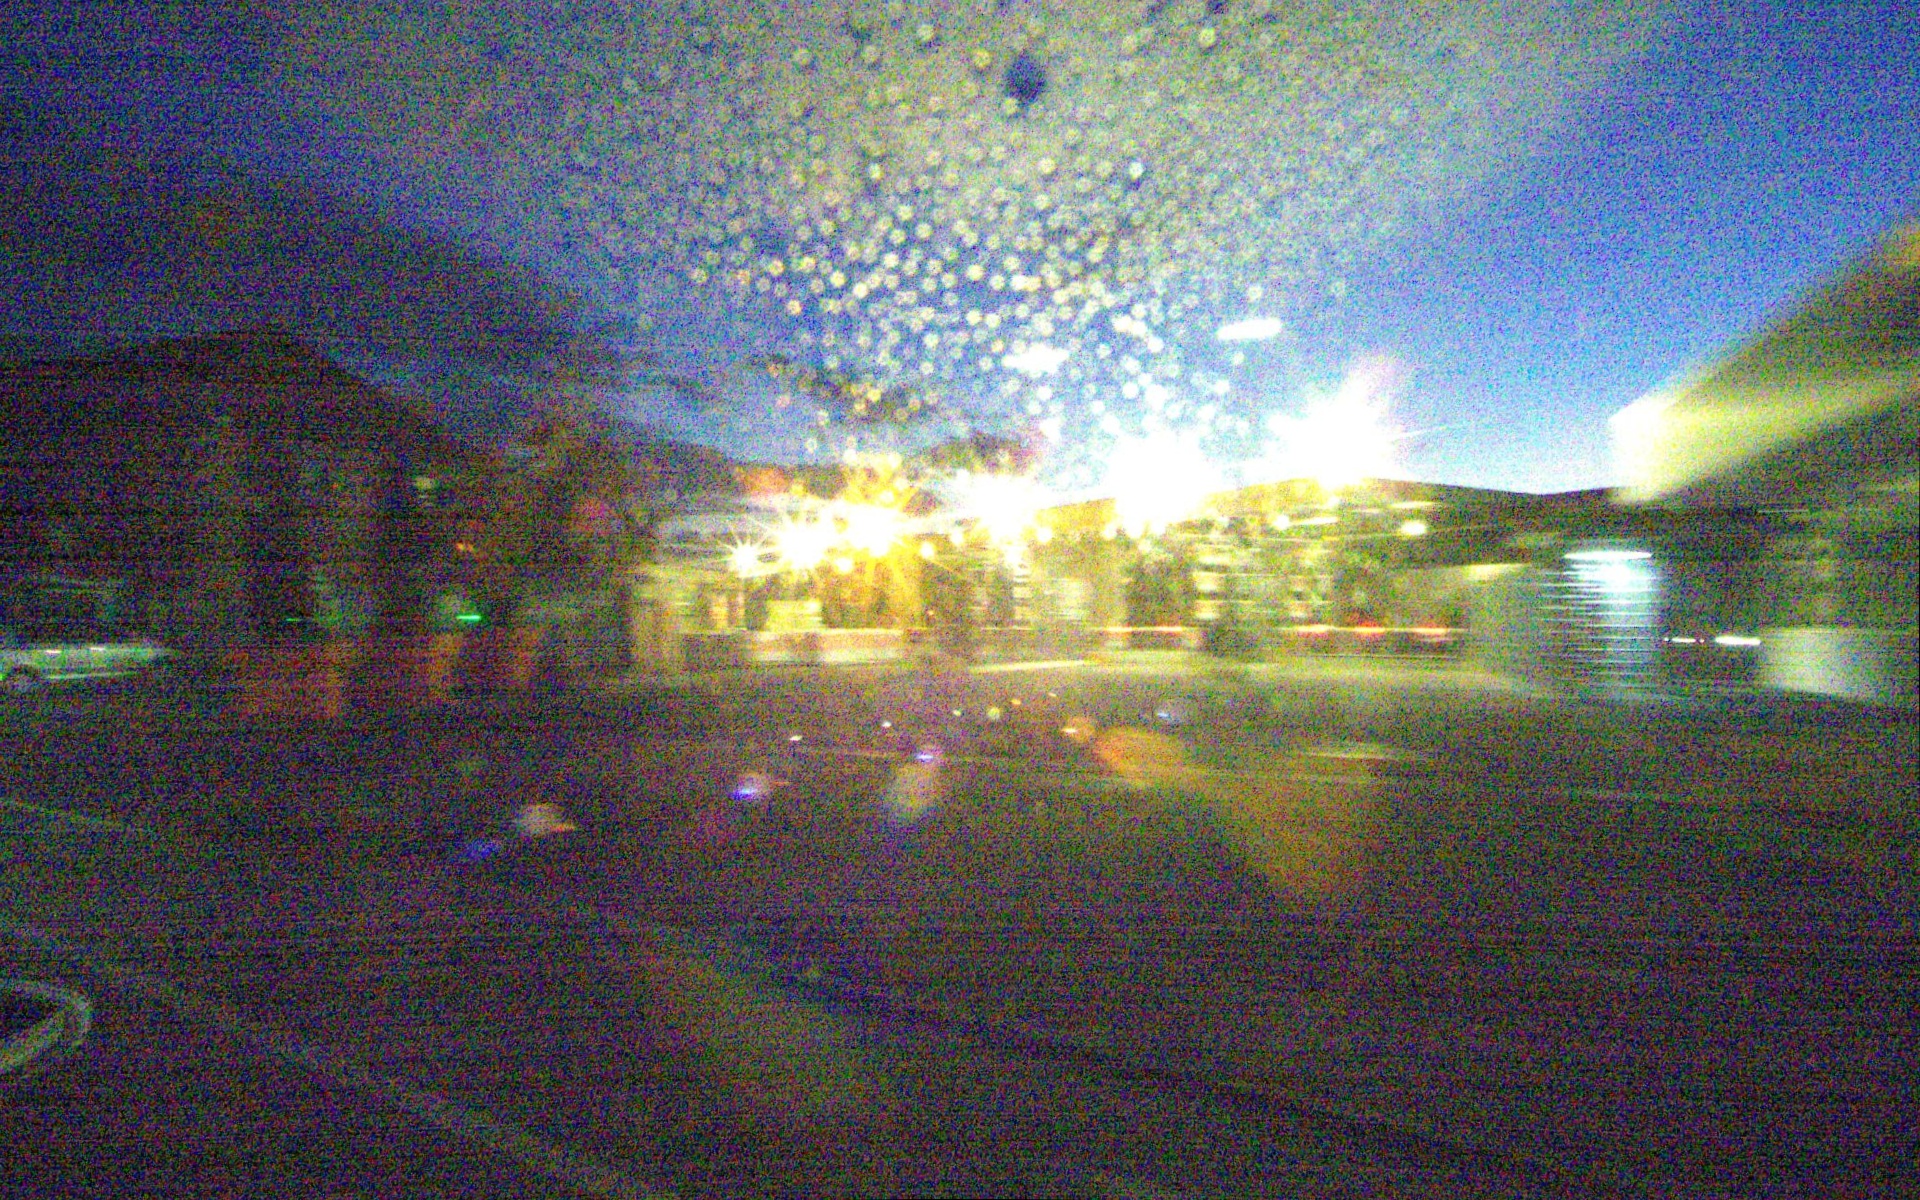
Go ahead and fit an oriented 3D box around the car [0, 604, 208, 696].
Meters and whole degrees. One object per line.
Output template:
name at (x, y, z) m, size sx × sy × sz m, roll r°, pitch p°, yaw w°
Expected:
car at (-19.010, 0.989, 21.439) m, size 1.858 × 1.669 × 4.330 m, roll 0°, pitch 2°, yaw 19°
